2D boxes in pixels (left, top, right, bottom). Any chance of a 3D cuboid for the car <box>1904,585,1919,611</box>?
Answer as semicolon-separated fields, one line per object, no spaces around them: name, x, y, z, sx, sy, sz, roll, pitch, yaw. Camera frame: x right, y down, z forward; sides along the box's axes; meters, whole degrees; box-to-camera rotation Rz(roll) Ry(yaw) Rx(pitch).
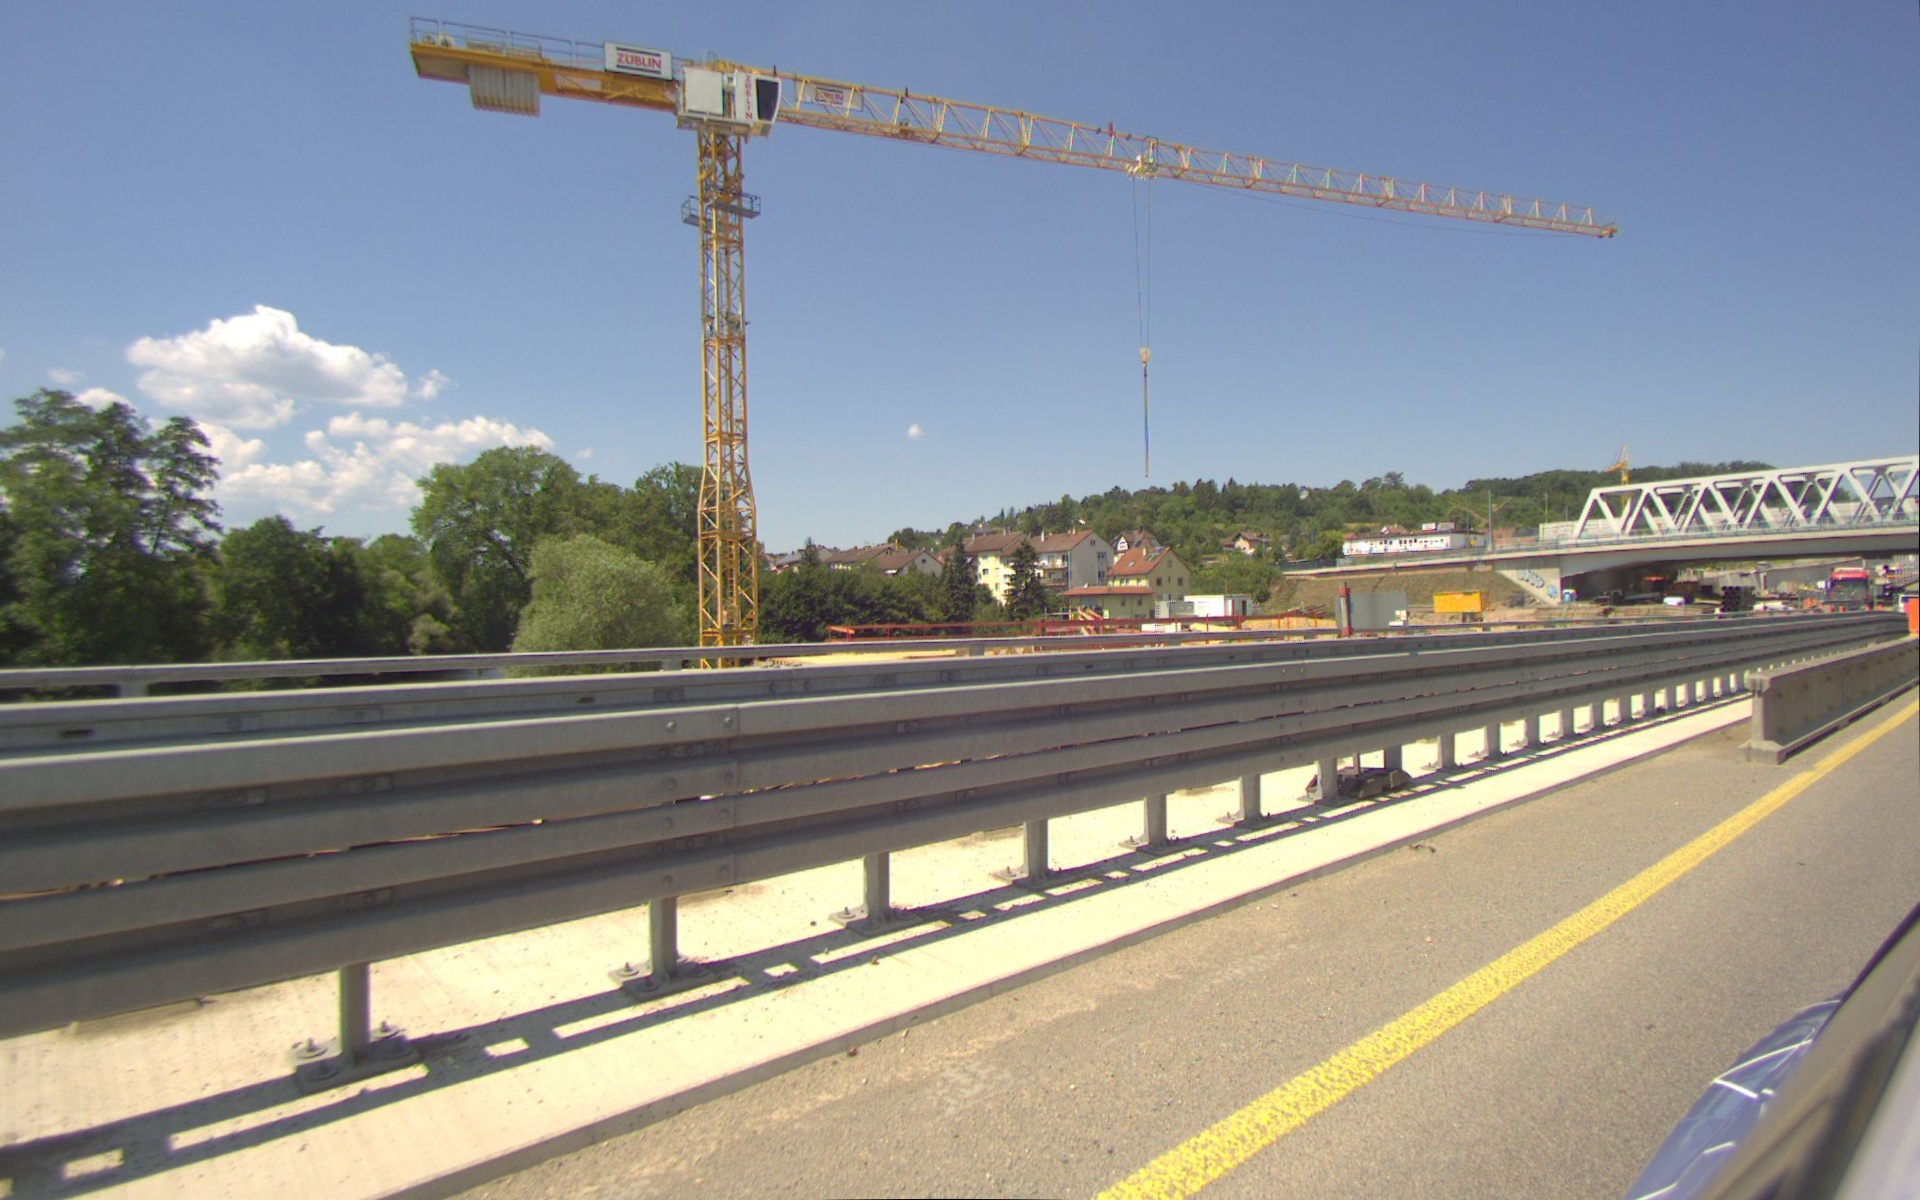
car;71.887;-0.149;75.420;1.782;1.906;3.946;-2;-2;37

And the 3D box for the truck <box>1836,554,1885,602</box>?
truck;74.616;-1.776;83.938;2.693;3.772;8.384;2;2;40
